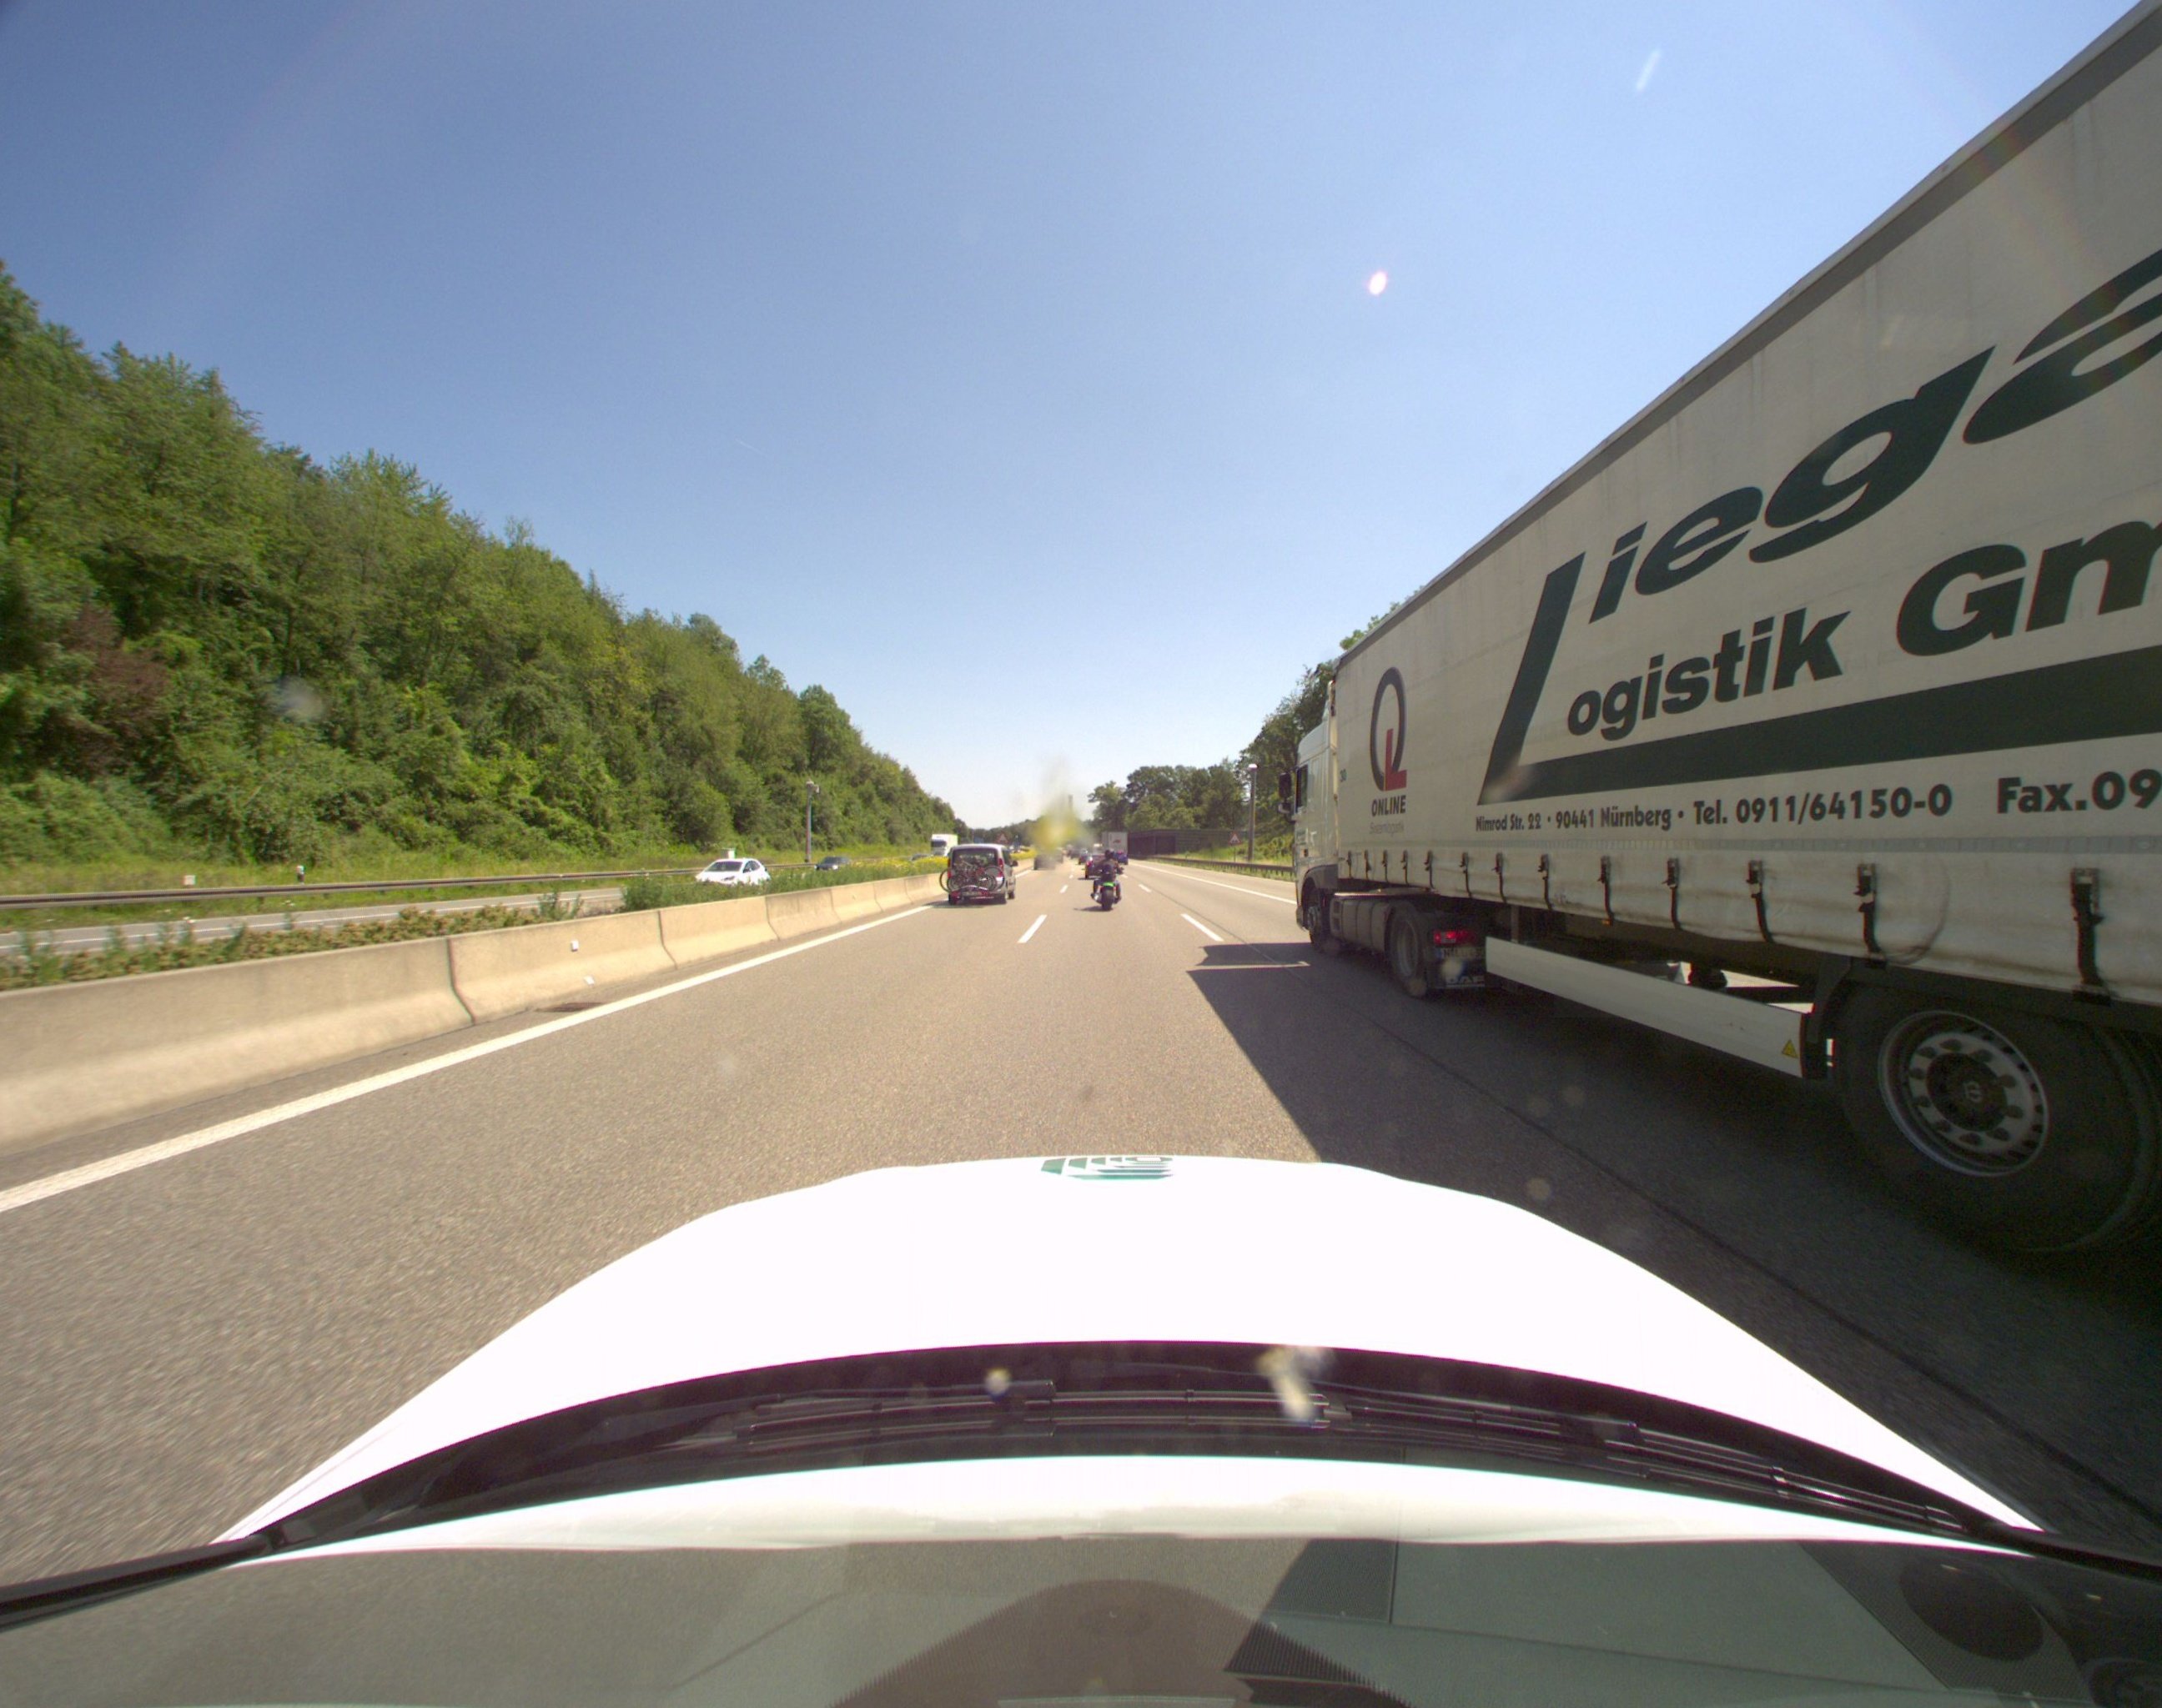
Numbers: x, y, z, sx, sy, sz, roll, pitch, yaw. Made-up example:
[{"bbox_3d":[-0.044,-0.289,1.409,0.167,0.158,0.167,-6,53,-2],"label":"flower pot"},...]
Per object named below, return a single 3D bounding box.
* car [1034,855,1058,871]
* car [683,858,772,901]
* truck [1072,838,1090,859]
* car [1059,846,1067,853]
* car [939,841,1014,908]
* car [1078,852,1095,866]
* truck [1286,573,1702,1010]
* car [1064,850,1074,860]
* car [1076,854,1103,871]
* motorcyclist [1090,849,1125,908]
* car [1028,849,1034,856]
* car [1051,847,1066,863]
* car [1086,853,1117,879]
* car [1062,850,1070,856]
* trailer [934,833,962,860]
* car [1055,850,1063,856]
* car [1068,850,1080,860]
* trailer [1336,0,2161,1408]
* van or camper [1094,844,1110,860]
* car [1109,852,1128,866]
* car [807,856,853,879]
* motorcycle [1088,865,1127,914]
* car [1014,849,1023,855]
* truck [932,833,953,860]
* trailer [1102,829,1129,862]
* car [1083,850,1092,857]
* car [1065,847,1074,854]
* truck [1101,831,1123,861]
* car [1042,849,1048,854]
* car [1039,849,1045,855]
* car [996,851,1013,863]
[{"bbox_3d":[-3.048,0.786,71.137,1.988,1.387,3.997,0,-1,-2],"label":"car"},{"bbox_3d":[-13.388,0.924,31.088,1.665,1.508,3.828,0,0,1],"label":"car"},{"bbox_3d":[-0.095,-1.368,203.996,3.797,4.960,8.932,0,-1,-6],"label":"truck"},{"bbox_3d":[-5.342,-1.234,240.300,2.104,1.876,3.993,0,-1,-5],"label":"car"},{"bbox_3d":[-3.167,0.607,25.404,1.894,1.873,4.409,0,-1,-2],"label":"car"},{"bbox_3d":[0.595,0.615,94.354,1.775,1.552,3.581,0,-1,-3],"label":"car"},{"bbox_3d":[4.724,-0.646,10.820,2.774,4.204,5.874,0,1,3],"label":"truck"},{"bbox_3d":[-2.410,0.275,168.062,1.907,2.014,3.686,0,-1,-4],"label":"car"},{"bbox_3d":[0.722,0.767,71.350,1.990,1.430,3.841,0,-1,-4],"label":"car"},{"bbox_3d":[0.713,0.634,21.688,0.896,1.475,1.873,0,-1,2],"label":"motorcyclist"},{"bbox_3d":[-14.472,-0.480,234.648,1.776,1.822,3.903,0,0,-3],"label":"car"},{"bbox_3d":[-2.809,0.137,102.124,1.786,2.014,3.640,0,-1,-1],"label":"car"},{"bbox_3d":[1.152,0.690,47.624,1.657,1.453,3.867,0,-1,-1],"label":"car"},{"bbox_3d":[-3.500,-0.209,187.816,1.828,1.496,3.739,0,-1,-3],"label":"car"},{"bbox_3d":[-21.965,-1.062,135.467,2.707,4.208,13.923,0,-1,-1],"label":"trailer"},{"bbox_3d":[-5.569,-0.200,204.097,1.828,1.496,3.739,0,-1,-3],"label":"car"},{"bbox_3d":[-1.184,0.193,140.293,1.988,1.640,3.998,0,-1,-1],"label":"car"},{"bbox_3d":[4.482,-0.578,4.028,2.775,4.204,13.251,0,1,2],"label":"trailer"},{"bbox_3d":[3.811,-0.288,148.636,2.678,2.813,6.797,0,-1,-2],"label":"van or camper"},{"bbox_3d":[4.262,0.600,92.803,1.647,1.483,4.474,0,-1,-4],"label":"car"},{"bbox_3d":[-17.713,0.909,57.564,1.987,1.508,4.000,-1,0,0],"label":"car"},{"bbox_3d":[0.719,0.900,21.716,0.961,1.148,2.813,0,1,2],"label":"motorcycle"},{"bbox_3d":[-16.107,-0.527,208.906,1.987,1.486,3.999,0,-1,0],"label":"car"},{"bbox_3d":[-21.790,-1.144,128.299,2.683,4.090,5.198,0,-1,-2],"label":"truck"},{"bbox_3d":[4.407,-1.101,107.977,2.877,4.038,13.791,0,0,-1],"label":"trailer"},{"bbox_3d":[1.553,-0.160,192.059,1.990,1.574,3.994,0,-1,-4],"label":"car"},{"bbox_3d":[-3.334,-1.005,234.890,2.104,1.876,3.993,0,-1,-5],"label":"car"},{"bbox_3d":[4.359,-1.159,114.804,2.877,4.146,5.984,0,0,-1],"label":"truck"},{"bbox_3d":[-10.261,-0.739,233.050,1.828,1.496,3.739,0,-1,-3],"label":"car"},{"bbox_3d":[-12.140,-0.615,255.790,1.835,1.629,3.997,-1,0,-2],"label":"car"},{"bbox_3d":[-10.998,0.355,116.926,1.987,1.678,4.080,-1,0,0],"label":"car"}]
